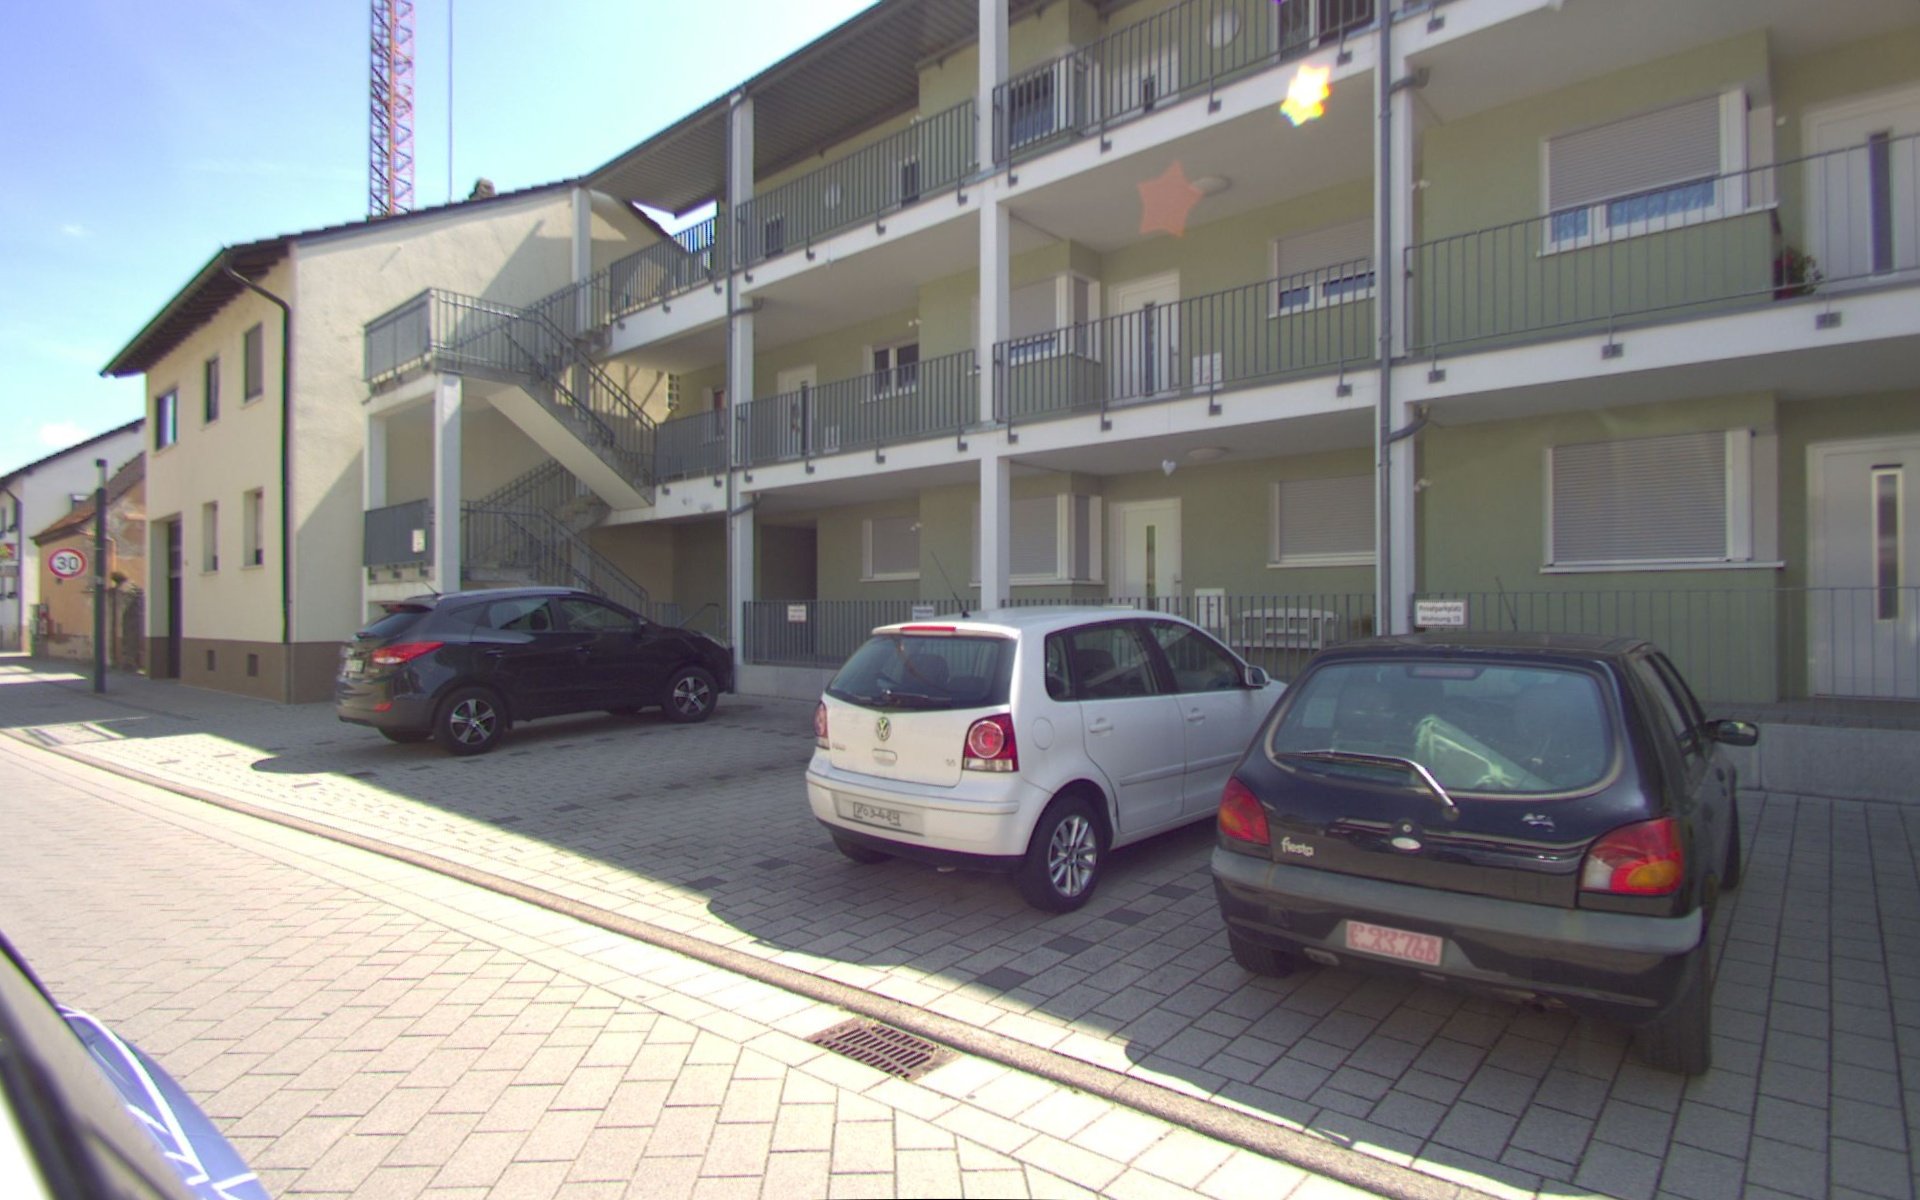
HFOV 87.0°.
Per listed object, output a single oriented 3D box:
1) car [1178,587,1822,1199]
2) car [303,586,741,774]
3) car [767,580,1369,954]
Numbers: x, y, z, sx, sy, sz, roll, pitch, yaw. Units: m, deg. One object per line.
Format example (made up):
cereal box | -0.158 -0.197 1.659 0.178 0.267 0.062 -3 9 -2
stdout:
car | 2.724 0.743 4.545 1.690 1.452 3.946 -1 1 41
car | -4.761 0.733 11.472 1.784 1.671 4.174 -1 1 42
car | 0.920 0.699 6.306 1.751 1.514 3.859 -2 1 43
